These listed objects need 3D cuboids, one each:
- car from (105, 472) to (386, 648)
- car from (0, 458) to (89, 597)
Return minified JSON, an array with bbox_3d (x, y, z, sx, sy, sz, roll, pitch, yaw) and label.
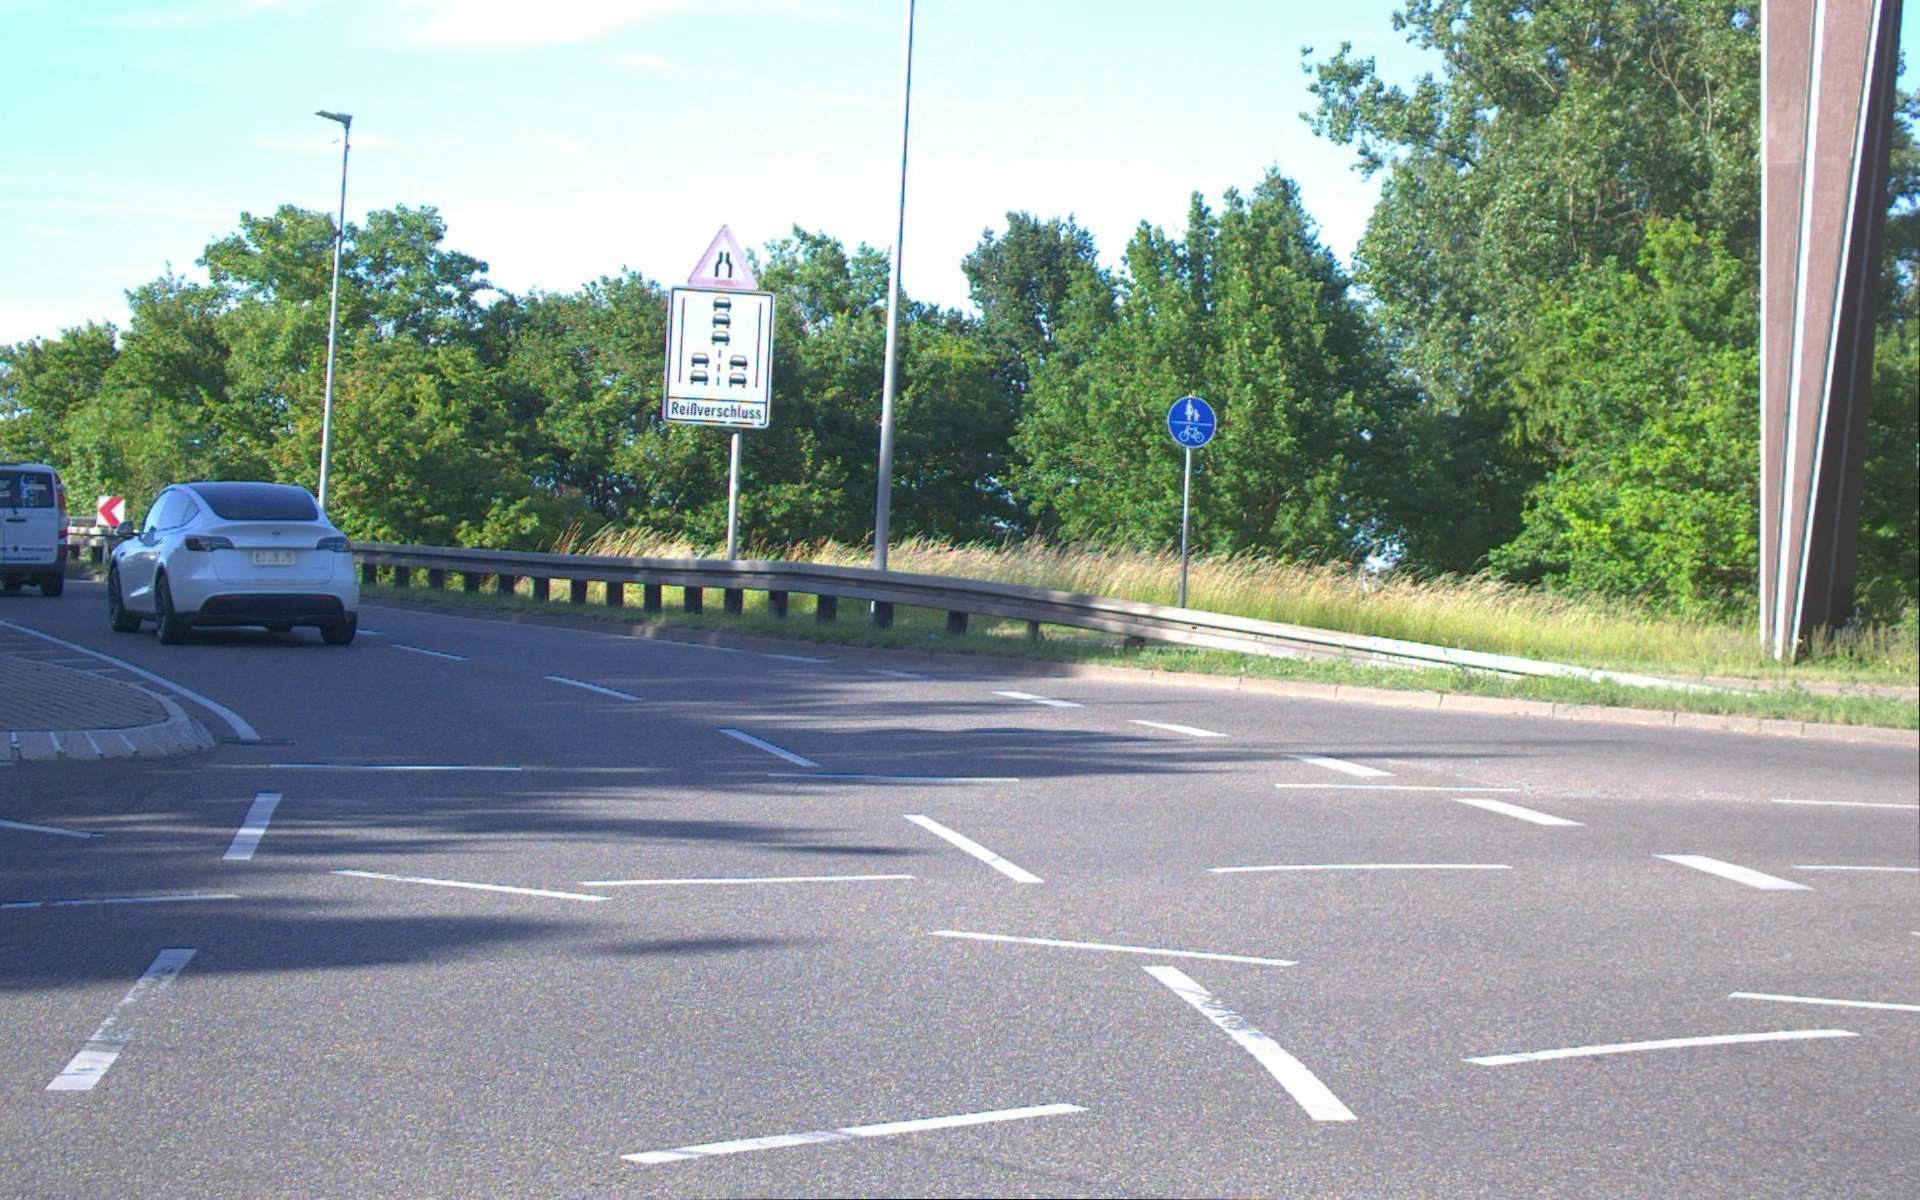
[{"bbox_3d":[-7.430,-0.443,35.433,1.993,1.634,4.129,2,1,-23],"label":"car"},{"bbox_3d":[-13.978,-1.076,49.270,1.993,1.873,4.250,2,1,-26],"label":"car"}]
